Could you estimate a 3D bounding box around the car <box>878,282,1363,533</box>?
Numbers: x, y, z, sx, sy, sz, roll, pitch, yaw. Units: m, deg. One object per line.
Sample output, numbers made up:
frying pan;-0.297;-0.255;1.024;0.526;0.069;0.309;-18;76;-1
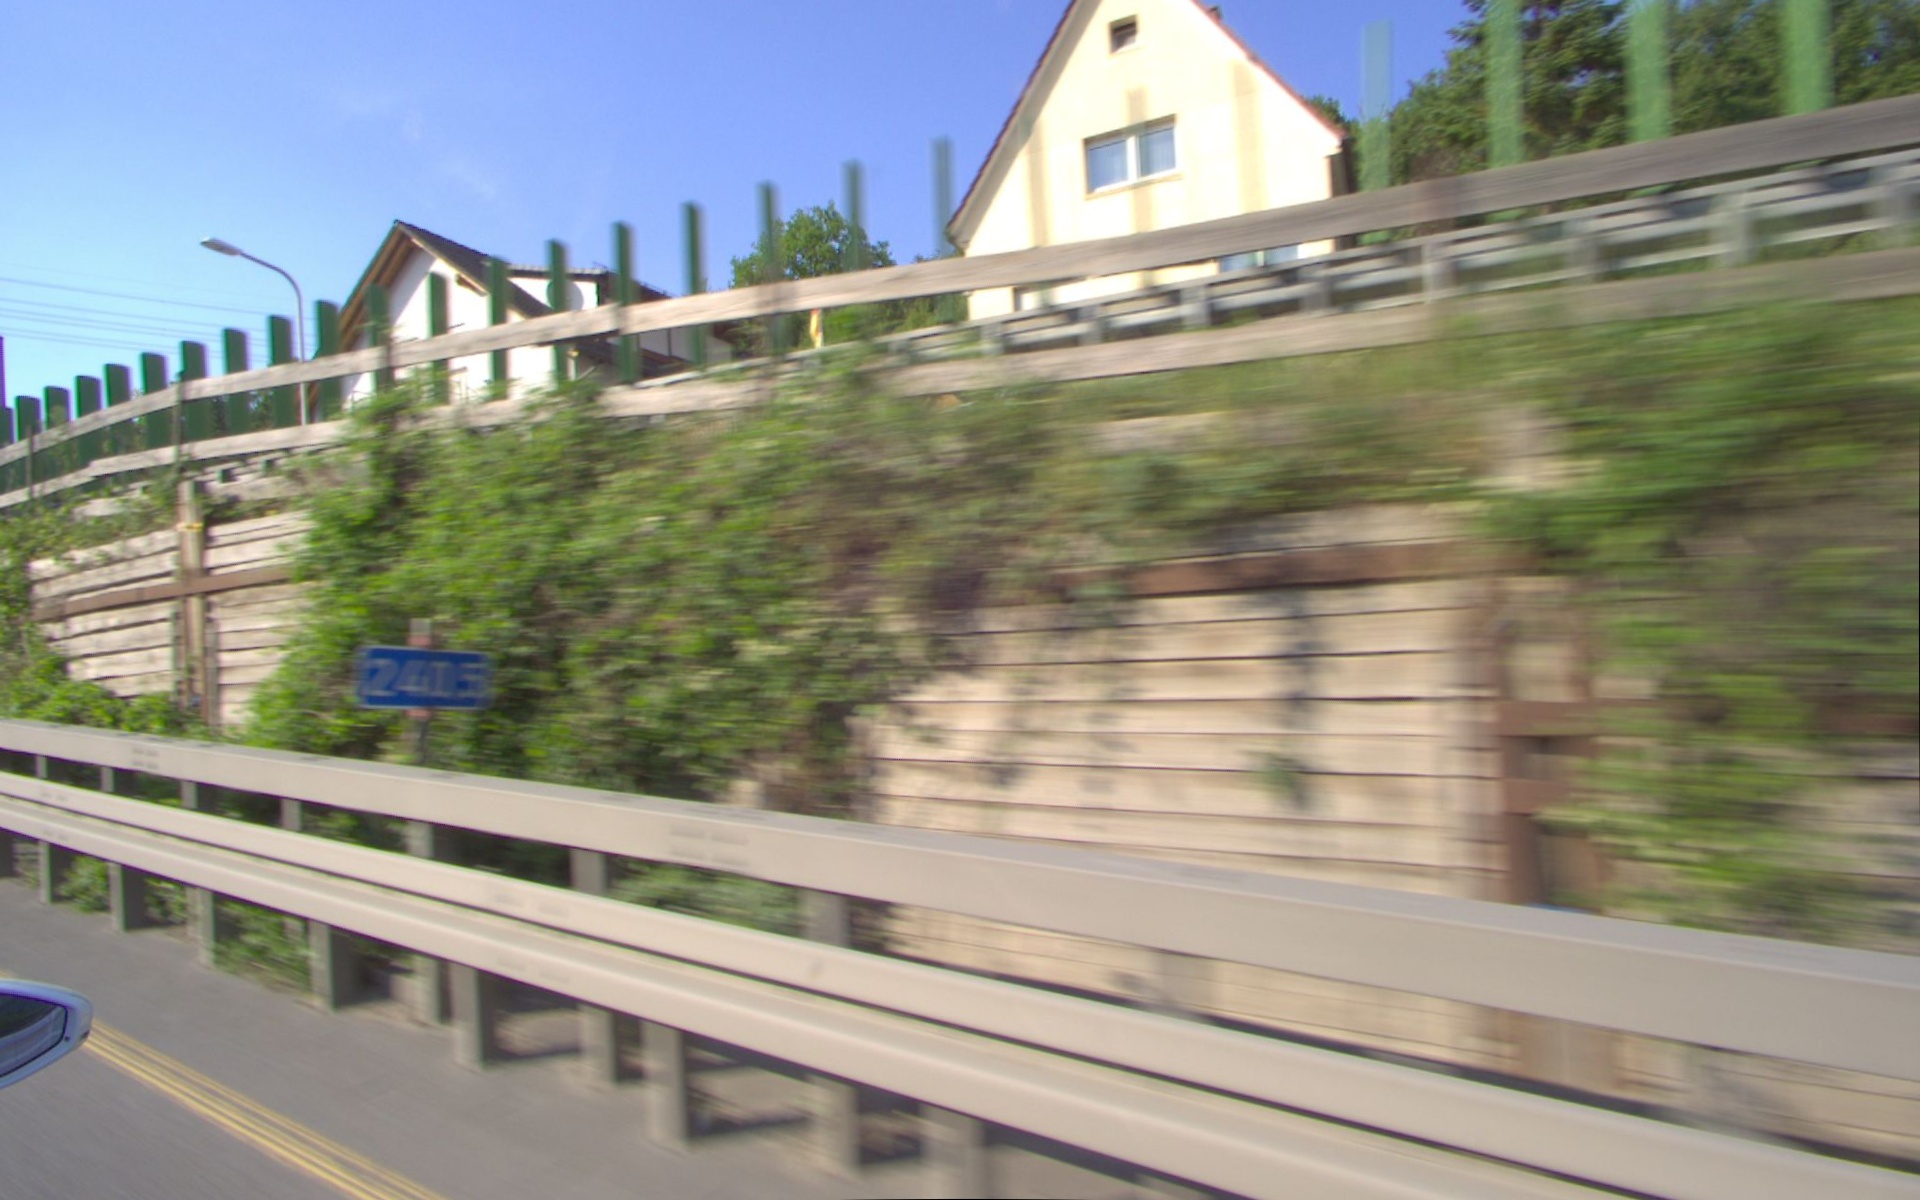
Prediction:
car;1.605;-1.745;10.190;4.571;1.679;1.699;-3;-1;23
